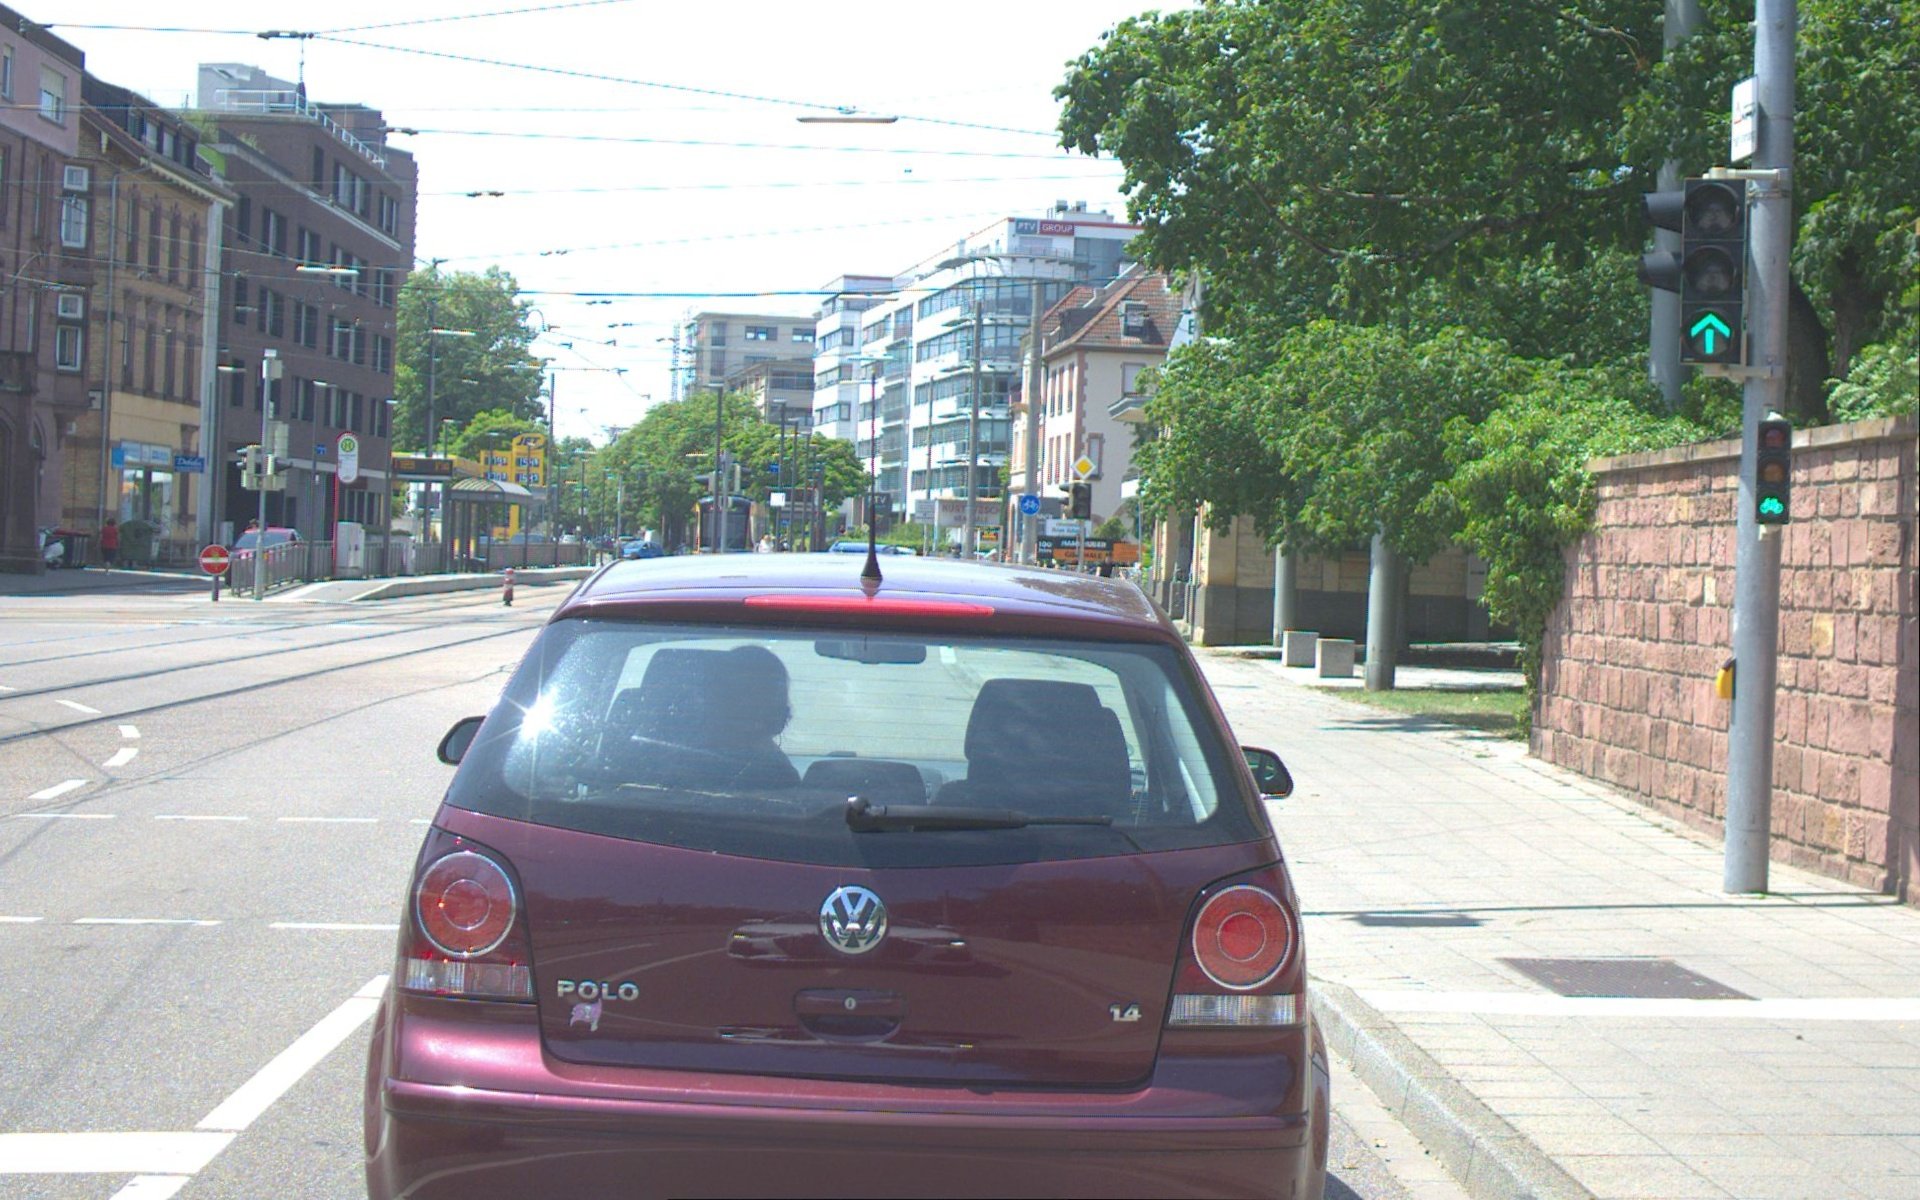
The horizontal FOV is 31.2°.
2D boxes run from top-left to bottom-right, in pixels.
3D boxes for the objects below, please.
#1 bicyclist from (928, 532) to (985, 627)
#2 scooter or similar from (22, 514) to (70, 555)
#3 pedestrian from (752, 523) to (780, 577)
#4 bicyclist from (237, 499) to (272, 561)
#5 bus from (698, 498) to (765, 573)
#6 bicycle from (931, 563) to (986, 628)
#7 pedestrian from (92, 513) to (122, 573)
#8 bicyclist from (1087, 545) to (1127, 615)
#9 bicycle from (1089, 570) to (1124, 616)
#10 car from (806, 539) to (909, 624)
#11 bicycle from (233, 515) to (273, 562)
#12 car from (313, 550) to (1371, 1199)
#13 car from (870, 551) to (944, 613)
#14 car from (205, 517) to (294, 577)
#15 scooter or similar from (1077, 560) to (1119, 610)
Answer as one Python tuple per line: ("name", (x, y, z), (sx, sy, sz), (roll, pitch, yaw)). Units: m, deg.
("bicyclist", (-0.063, -0.384, 64.868), (0.728, 1.754, 0.923), (2, 1, 20))
("scooter or similar", (-24.405, -1.745, 91.820), (0.488, 1.078, 1.576), (2, 1, 16))
("pedestrian", (-6.132, -1.575, 108.645), (0.763, 1.669, 1.100), (2, 1, 0))
("bicyclist", (-20.547, -2.049, 100.120), (0.732, 1.756, 1.135), (2, 1, 0))
("bus", (-9.523, -2.698, 143.587), (2.145, 2.993, 6.573), (2, 1, 1))
("bicycle", (-0.024, -0.100, 64.802), (0.376, 1.193, 1.903), (2, 1, 20))
("pedestrian", (-22.687, -1.518, 91.437), (0.614, 1.555, 0.640), (2, 1, -1))
("bicyclist", (3.509, -0.491, 81.969), (0.832, 1.612, 0.860), (-2, 2, -2))
("bicycle", (3.481, -0.172, 81.948), (0.668, 0.999, 1.864), (-2, 2, -2))
("car", (-2.134, -0.408, 70.915), (1.993, 1.619, 4.632), (2, 1, -2))
("bicycle", (-20.566, -1.796, 100.056), (0.677, 1.300, 2.105), (2, 1, 0))
("car", (-0.229, 0.659, 6.723), (1.561, 1.448, 3.062), (2, 1, -2))
("car", (-1.369, -0.496, 90.260), (1.823, 1.525, 4.000), (2, 1, 0))
("car", (-18.459, -1.384, 89.442), (1.624, 1.478, 3.829), (2, 1, -2))
("scooter or similar", (3.379, -0.366, 84.214), (0.339, 1.174, 1.468), (2, 1, -25))
